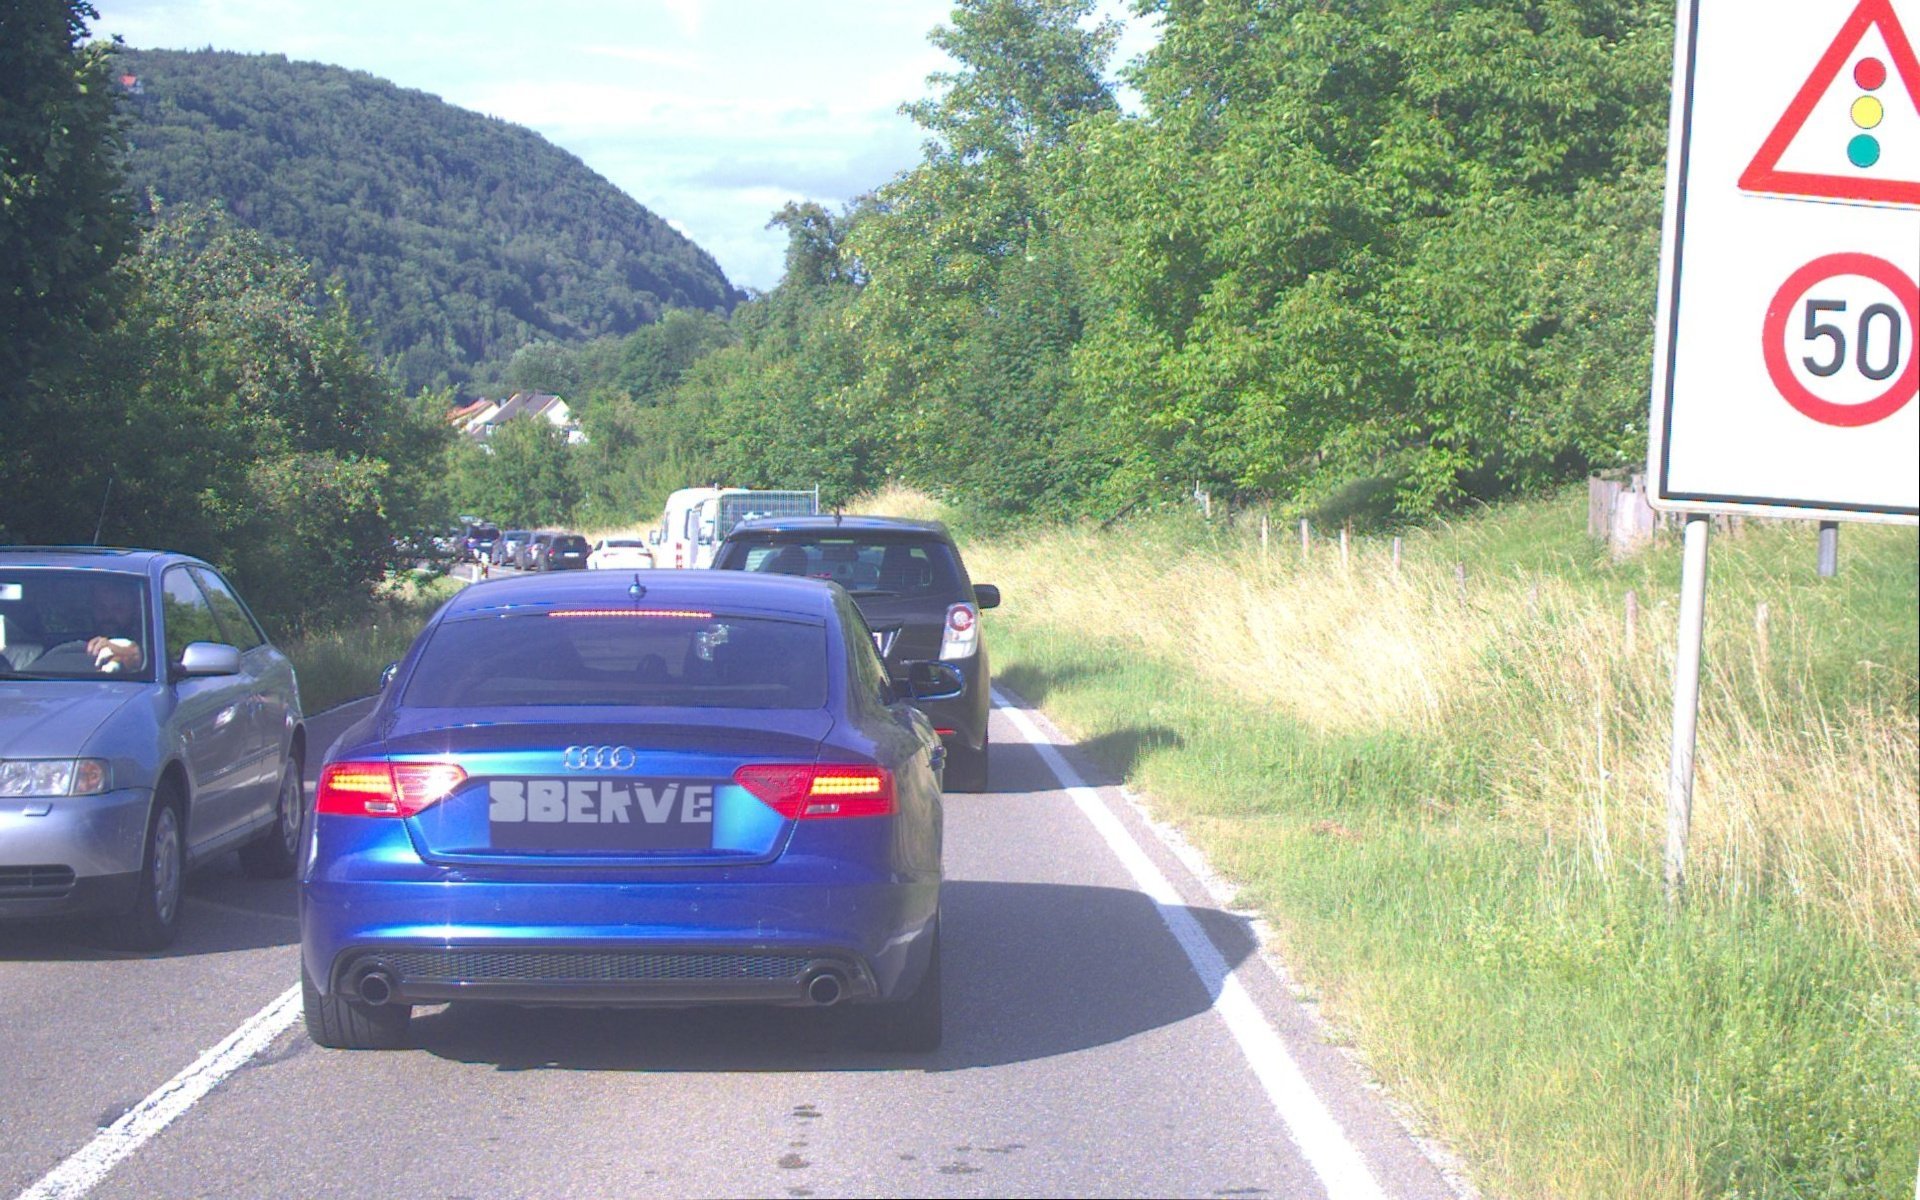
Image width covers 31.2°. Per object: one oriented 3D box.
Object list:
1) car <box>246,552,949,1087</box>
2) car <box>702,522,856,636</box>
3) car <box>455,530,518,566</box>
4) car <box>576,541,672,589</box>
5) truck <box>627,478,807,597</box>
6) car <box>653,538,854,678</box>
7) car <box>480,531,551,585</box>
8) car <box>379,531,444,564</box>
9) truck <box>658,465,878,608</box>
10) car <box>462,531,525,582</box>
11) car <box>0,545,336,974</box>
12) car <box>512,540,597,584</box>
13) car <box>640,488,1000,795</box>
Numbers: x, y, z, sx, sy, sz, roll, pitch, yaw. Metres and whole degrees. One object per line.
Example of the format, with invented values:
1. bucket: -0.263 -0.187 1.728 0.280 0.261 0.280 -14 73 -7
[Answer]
1. car: -0.952 0.545 10.865 1.793 1.355 4.000 1 1 0
2. car: -2.442 -0.298 47.325 1.993 1.477 4.000 1 1 -1
3. car: -20.193 -2.224 146.486 1.993 1.477 4.001 1 1 -18
4. car: -10.680 -1.116 108.977 1.993 1.477 4.001 1 1 -22
5. truck: -6.024 -1.525 83.414 2.863 2.656 10.648 1 1 -12
6. car: -2.143 0.060 36.678 1.993 1.382 4.000 1 1 -1
7. car: -16.852 -1.590 130.351 1.993 2.007 4.001 1 1 -17
8. car: -25.441 -2.444 159.362 1.993 1.477 4.001 1 1 -24
9. truck: -4.078 -1.302 70.282 2.863 2.656 10.396 1 1 -12
10. car: -19.065 -1.779 140.475 1.993 2.007 4.001 1 1 -16
11. car: -3.558 0.494 13.084 1.692 1.404 3.663 0 1 0
12. car: -14.258 -1.343 120.795 1.993 1.477 4.001 1 1 -22
13. car: -0.836 0.213 21.307 1.993 1.696 4.000 1 1 -1
